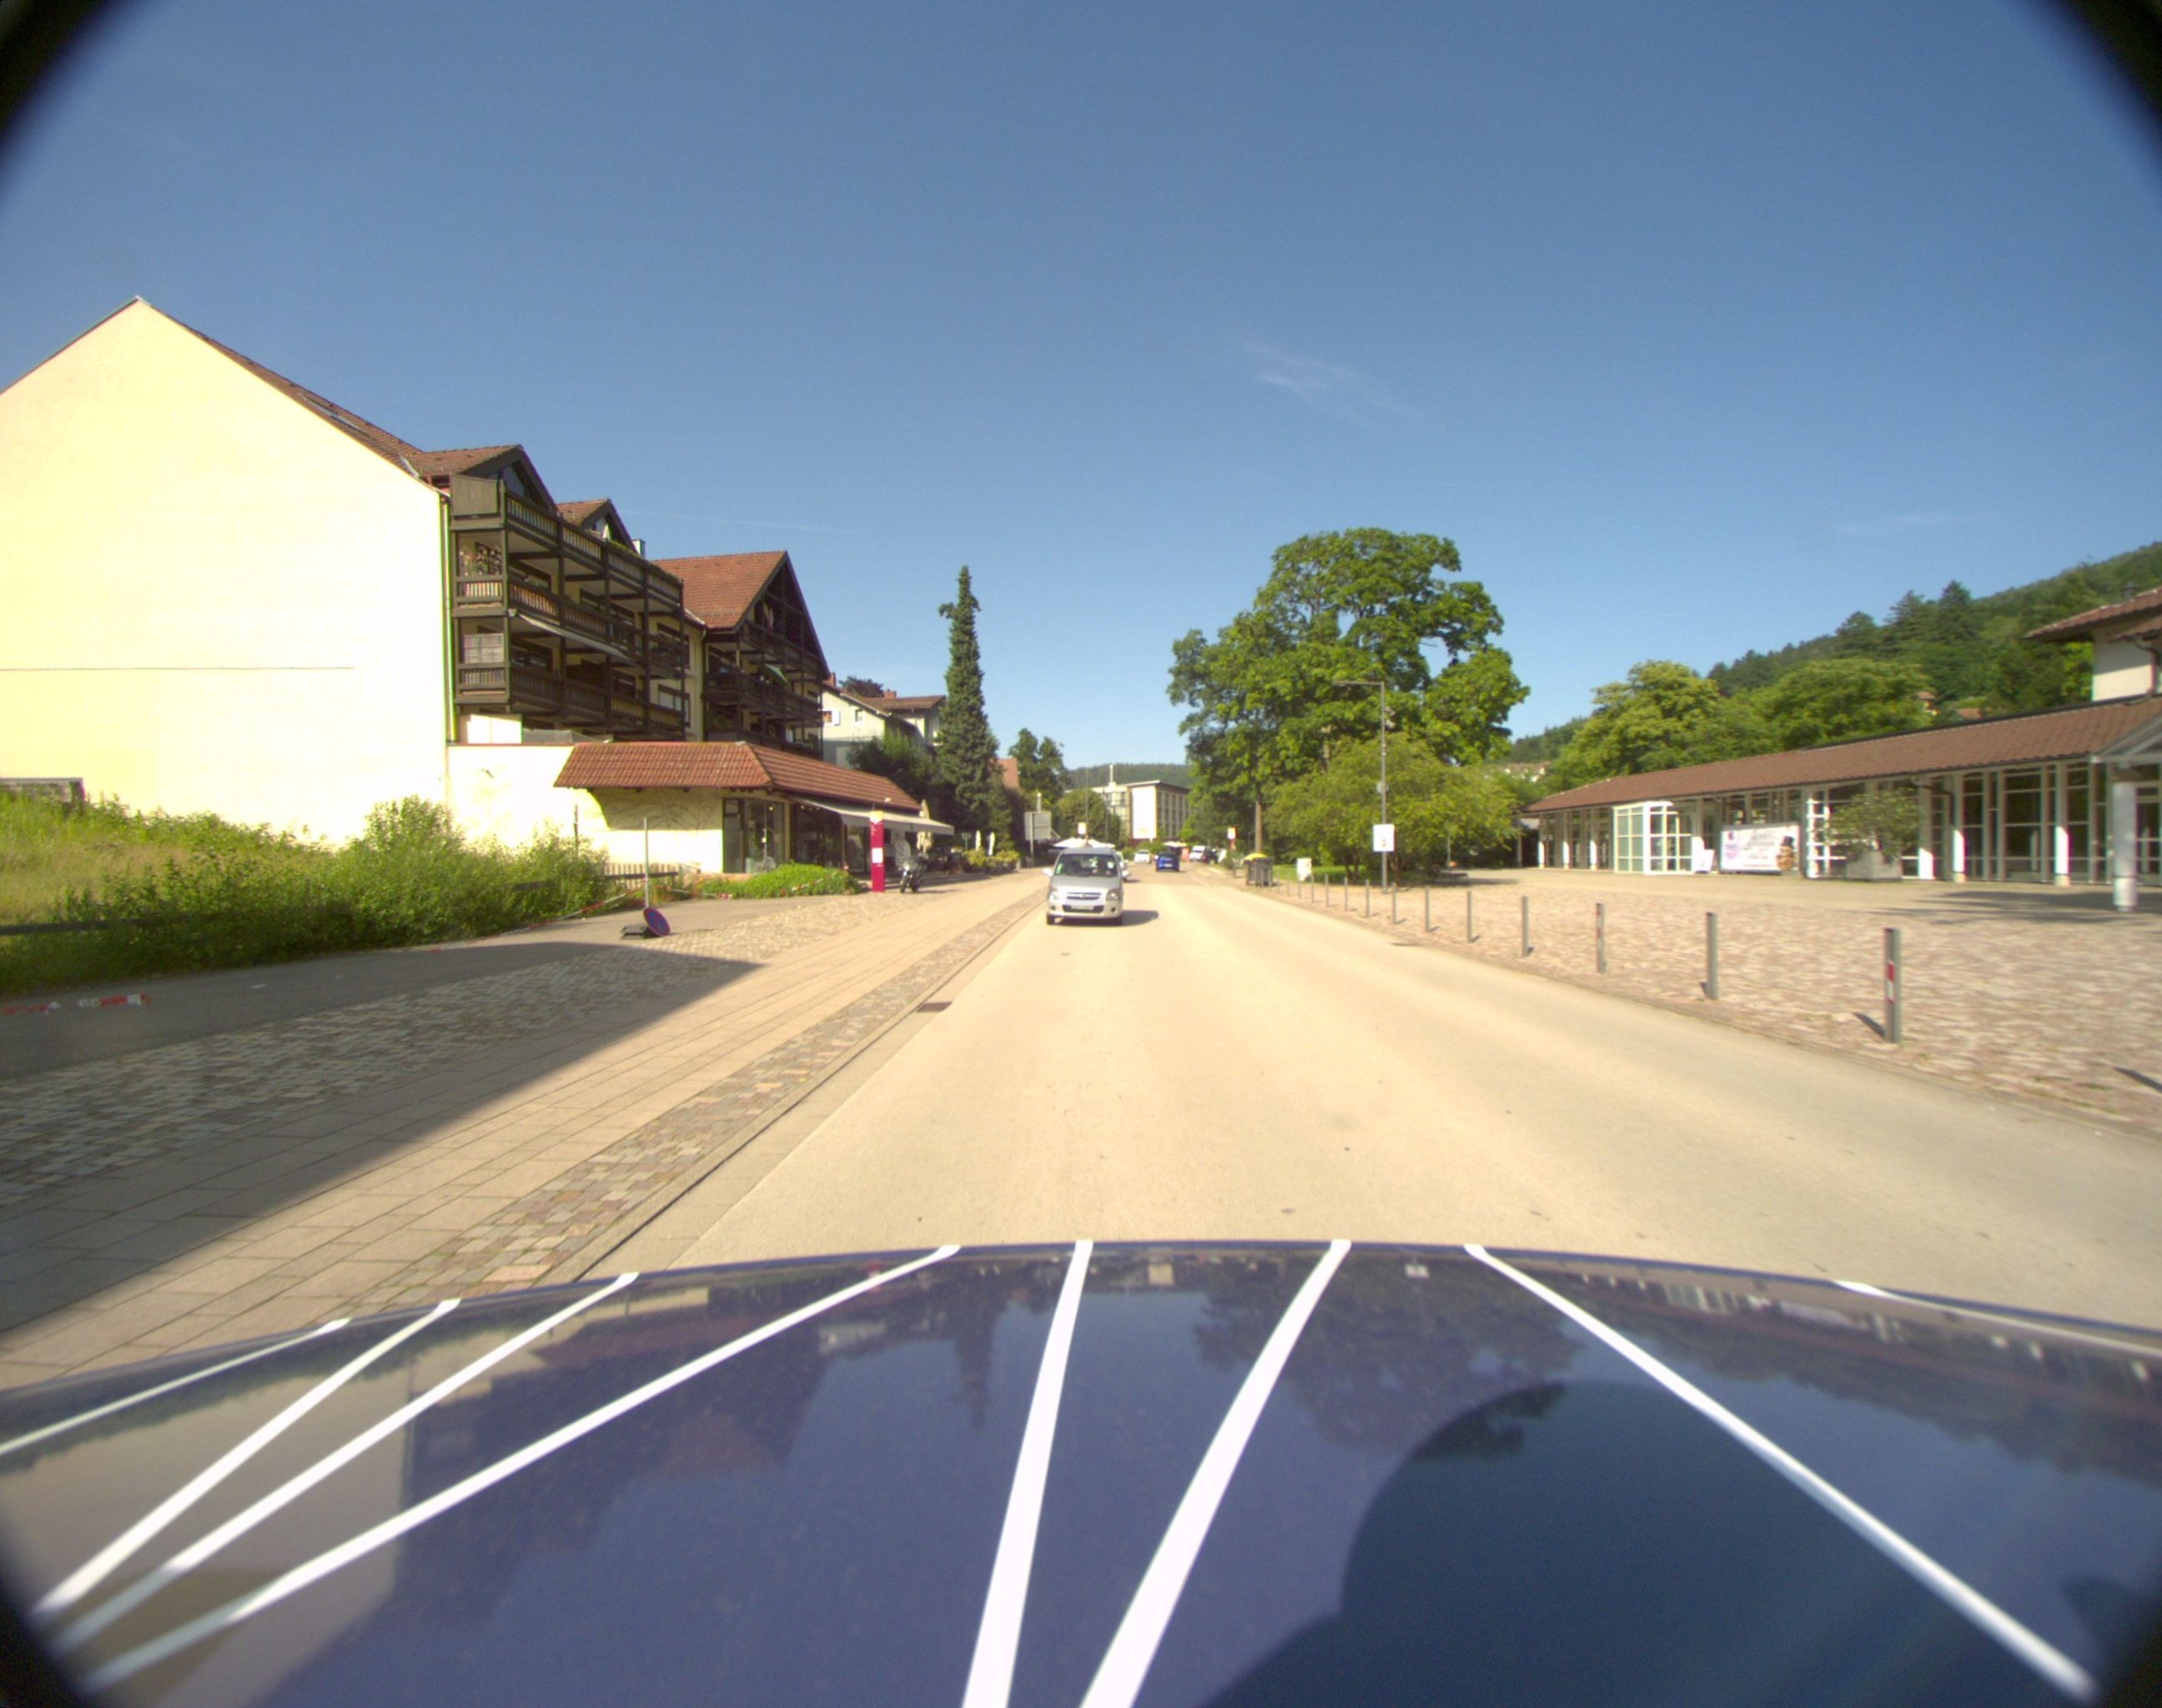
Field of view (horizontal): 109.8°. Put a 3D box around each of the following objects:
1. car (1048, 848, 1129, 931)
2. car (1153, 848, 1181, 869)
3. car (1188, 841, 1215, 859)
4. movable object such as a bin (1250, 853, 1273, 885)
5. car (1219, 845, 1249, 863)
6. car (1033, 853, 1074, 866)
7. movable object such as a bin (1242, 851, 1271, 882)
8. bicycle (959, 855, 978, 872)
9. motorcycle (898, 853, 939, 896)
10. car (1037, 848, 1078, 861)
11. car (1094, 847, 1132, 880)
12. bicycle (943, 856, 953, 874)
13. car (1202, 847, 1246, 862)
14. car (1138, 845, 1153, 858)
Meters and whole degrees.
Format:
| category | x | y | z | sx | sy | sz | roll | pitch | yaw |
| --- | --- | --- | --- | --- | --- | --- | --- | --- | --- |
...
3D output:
| category | x | y | z | sx | sy | sz | roll | pitch | yaw |
| --- | --- | --- | --- | --- | --- | --- | --- | --- | --- |
| car | 0.087 | 0.694 | 17.196 | 1.605 | 1.628 | 3.998 | 0 | 1 | -2 |
| car | 6.468 | 0.320 | 57.250 | 1.745 | 1.454 | 4.186 | 2 | 1 | 2 |
| car | 19.336 | -0.638 | 121.277 | 1.785 | 2.775 | 5.924 | -2 | 0 | 34 |
| movable object such as a bin | 8.064 | 0.662 | 33.980 | 0.756 | 1.334 | 1.295 | -3 | 1 | 4 |
| car | 14.322 | -0.018 | 71.285 | 2.655 | 1.538 | 1.684 | -2 | 1 | 13 |
| car | -2.981 | 0.562 | 82.295 | 4.117 | 1.407 | 1.749 | 0 | 1 | 8 |
| movable object such as a bin | 8.267 | 0.584 | 35.930 | 1.081 | 1.419 | 1.377 | -3 | 1 | 4 |
| bicycle | -5.911 | 0.494 | 39.929 | 0.397 | 0.859 | 1.617 | 0 | 1 | 12 |
| motorcycle | -5.250 | 0.629 | 24.650 | 0.698 | 1.289 | 2.212 | 2 | 1 | 3 |
| car | -2.607 | 0.030 | 84.308 | 4.270 | 1.371 | 1.710 | 0 | 1 | 8 |
| car | 1.535 | 0.416 | 37.056 | 1.740 | 1.488 | 3.929 | -1 | 0 | 2 |
| bicycle | -6.946 | 0.565 | 39.679 | 0.397 | 0.837 | 1.613 | -1 | 3 | -15 |
| car | 15.233 | 0.062 | 81.039 | 4.286 | 1.423 | 1.713 | -2 | 1 | 1 |
| car | 7.552 | -0.269 | 89.198 | 1.654 | 1.462 | 4.001 | -2 | 0 | 5 |
